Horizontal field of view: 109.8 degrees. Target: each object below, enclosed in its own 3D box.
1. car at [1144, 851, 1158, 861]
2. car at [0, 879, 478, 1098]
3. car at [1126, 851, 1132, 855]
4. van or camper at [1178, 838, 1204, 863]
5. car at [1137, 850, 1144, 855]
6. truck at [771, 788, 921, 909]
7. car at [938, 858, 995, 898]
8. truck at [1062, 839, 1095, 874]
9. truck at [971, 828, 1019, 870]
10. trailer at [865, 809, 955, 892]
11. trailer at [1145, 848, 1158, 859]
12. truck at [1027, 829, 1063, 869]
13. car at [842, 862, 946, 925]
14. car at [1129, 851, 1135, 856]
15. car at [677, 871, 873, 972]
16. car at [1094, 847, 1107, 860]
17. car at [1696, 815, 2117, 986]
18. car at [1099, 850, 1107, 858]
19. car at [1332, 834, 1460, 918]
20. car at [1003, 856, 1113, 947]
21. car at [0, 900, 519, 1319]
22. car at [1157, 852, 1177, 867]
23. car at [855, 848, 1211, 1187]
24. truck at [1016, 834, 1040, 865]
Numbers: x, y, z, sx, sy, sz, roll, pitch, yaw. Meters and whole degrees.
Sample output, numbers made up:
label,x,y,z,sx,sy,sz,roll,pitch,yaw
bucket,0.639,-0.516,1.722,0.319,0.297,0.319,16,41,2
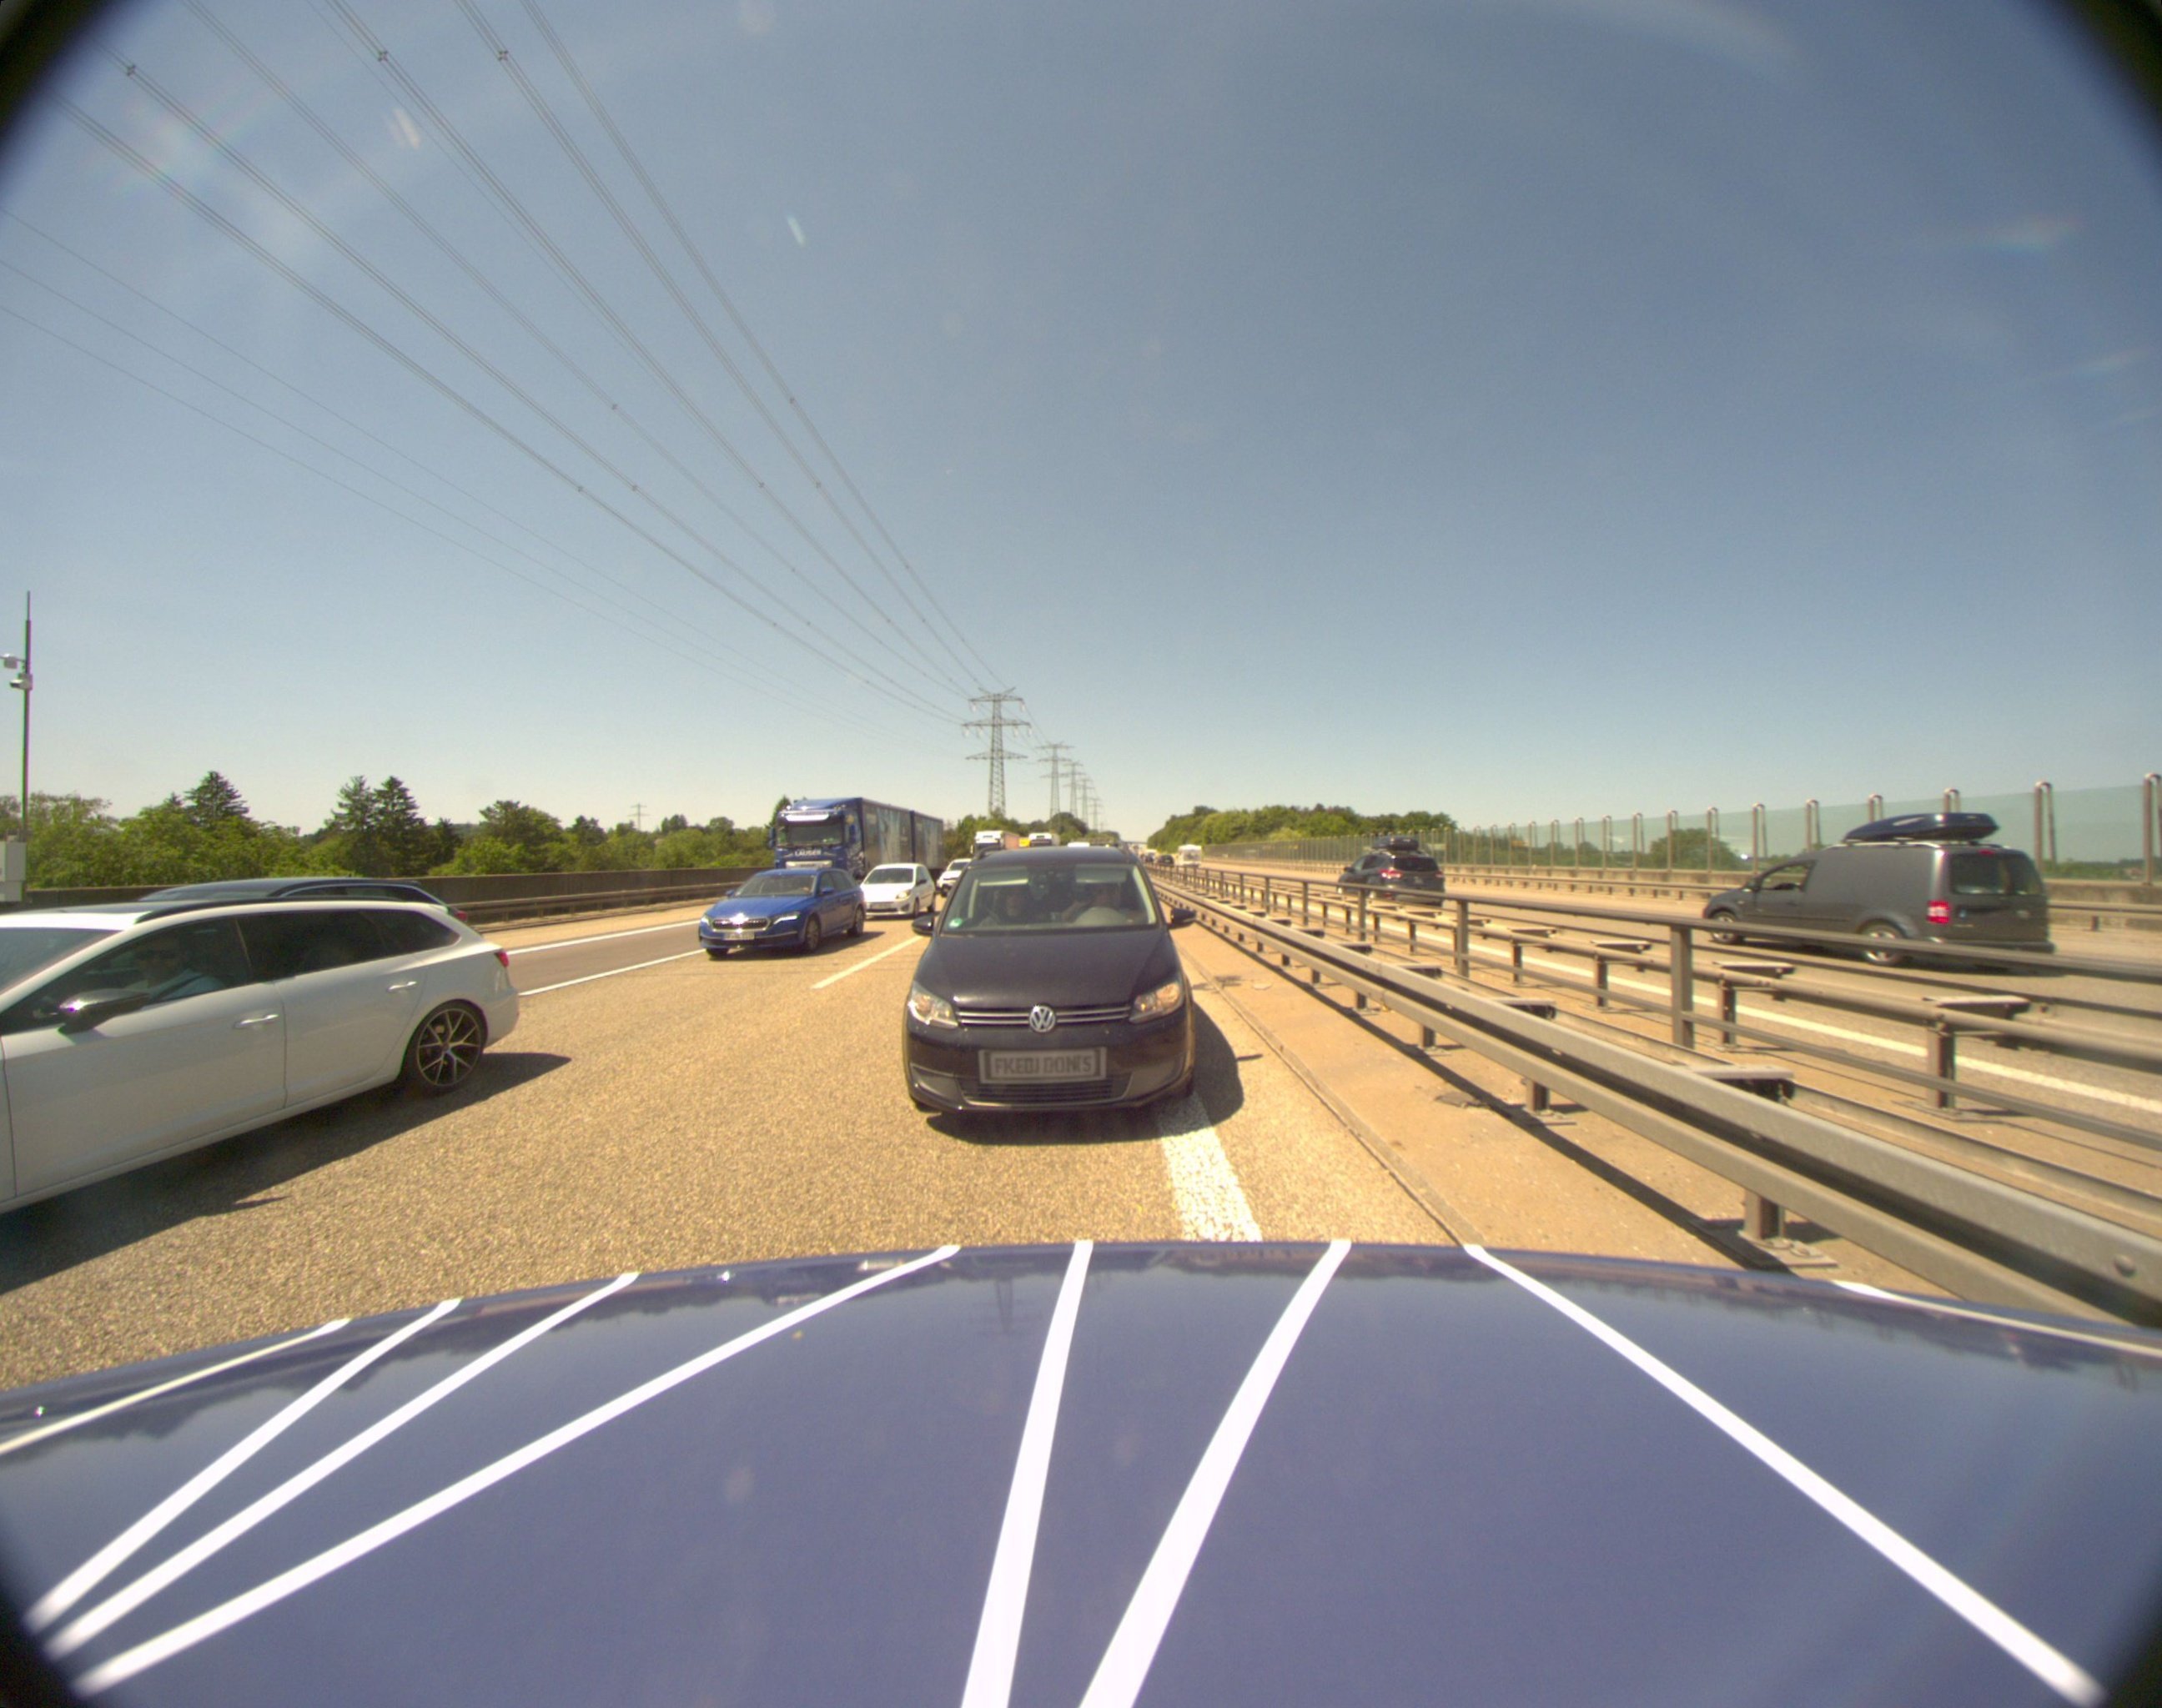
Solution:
label,x,y,z,sx,sy,sz,roll,pitch,yaw
car,11.212,0.252,122.293,1.872,1.523,4.424,2,0,1
car,-8.828,1.132,7.902,1.740,1.518,4.106,-2,0,1
car,15.774,-0.384,250.297,1.672,1.439,4.000,2,0,2
van or camper,14.261,-0.447,99.200,2.428,3.006,7.026,1,0,1
car,17.110,-0.391,218.530,1.734,1.483,4.419,1,0,0
truck,-9.116,-0.201,31.175,2.529,4.043,10.447,-2,0,1
car,-4.728,0.944,31.937,1.763,1.495,4.094,-1,0,0
truck,-0.122,0.165,58.238,2.284,2.479,5.861,-2,0,1
truck,-7.991,-0.460,71.949,2.985,3.538,10.967,-2,1,1
trailer,-8.912,-0.178,40.661,2.572,3.922,8.479,-2,0,1
trailer,16.294,-0.196,176.536,2.499,2.534,6.774,1,0,1
truck,-3.718,-0.541,80.393,2.980,3.832,10.561,-2,1,1
car,-5.118,1.032,21.386,1.762,1.495,4.095,-1,0,2
car,14.726,-0.103,220.839,1.672,1.439,4.000,2,0,2
car,-5.359,1.107,13.980,1.739,1.437,4.211,-1,0,2
car,3.121,-0.120,124.242,1.998,2.002,4.000,-2,1,1
car,12.542,0.607,12.087,1.998,2.203,4.268,1,0,0
car,5.371,-0.037,182.453,1.805,2.002,4.000,-1,0,1
car,8.734,0.557,21.497,1.868,2.118,4.268,1,0,1
car,-0.363,0.818,15.151,1.845,1.495,4.377,-1,0,1
car,-5.240,1.120,3.790,1.843,1.481,4.071,-1,0,-1
car,10.093,0.632,89.564,1.872,1.690,4.430,2,0,0
car,-0.229,0.818,5.848,1.740,1.652,3.999,-2,1,0
truck,-7.200,-0.653,104.209,2.346,4.058,8.278,-2,1,1
